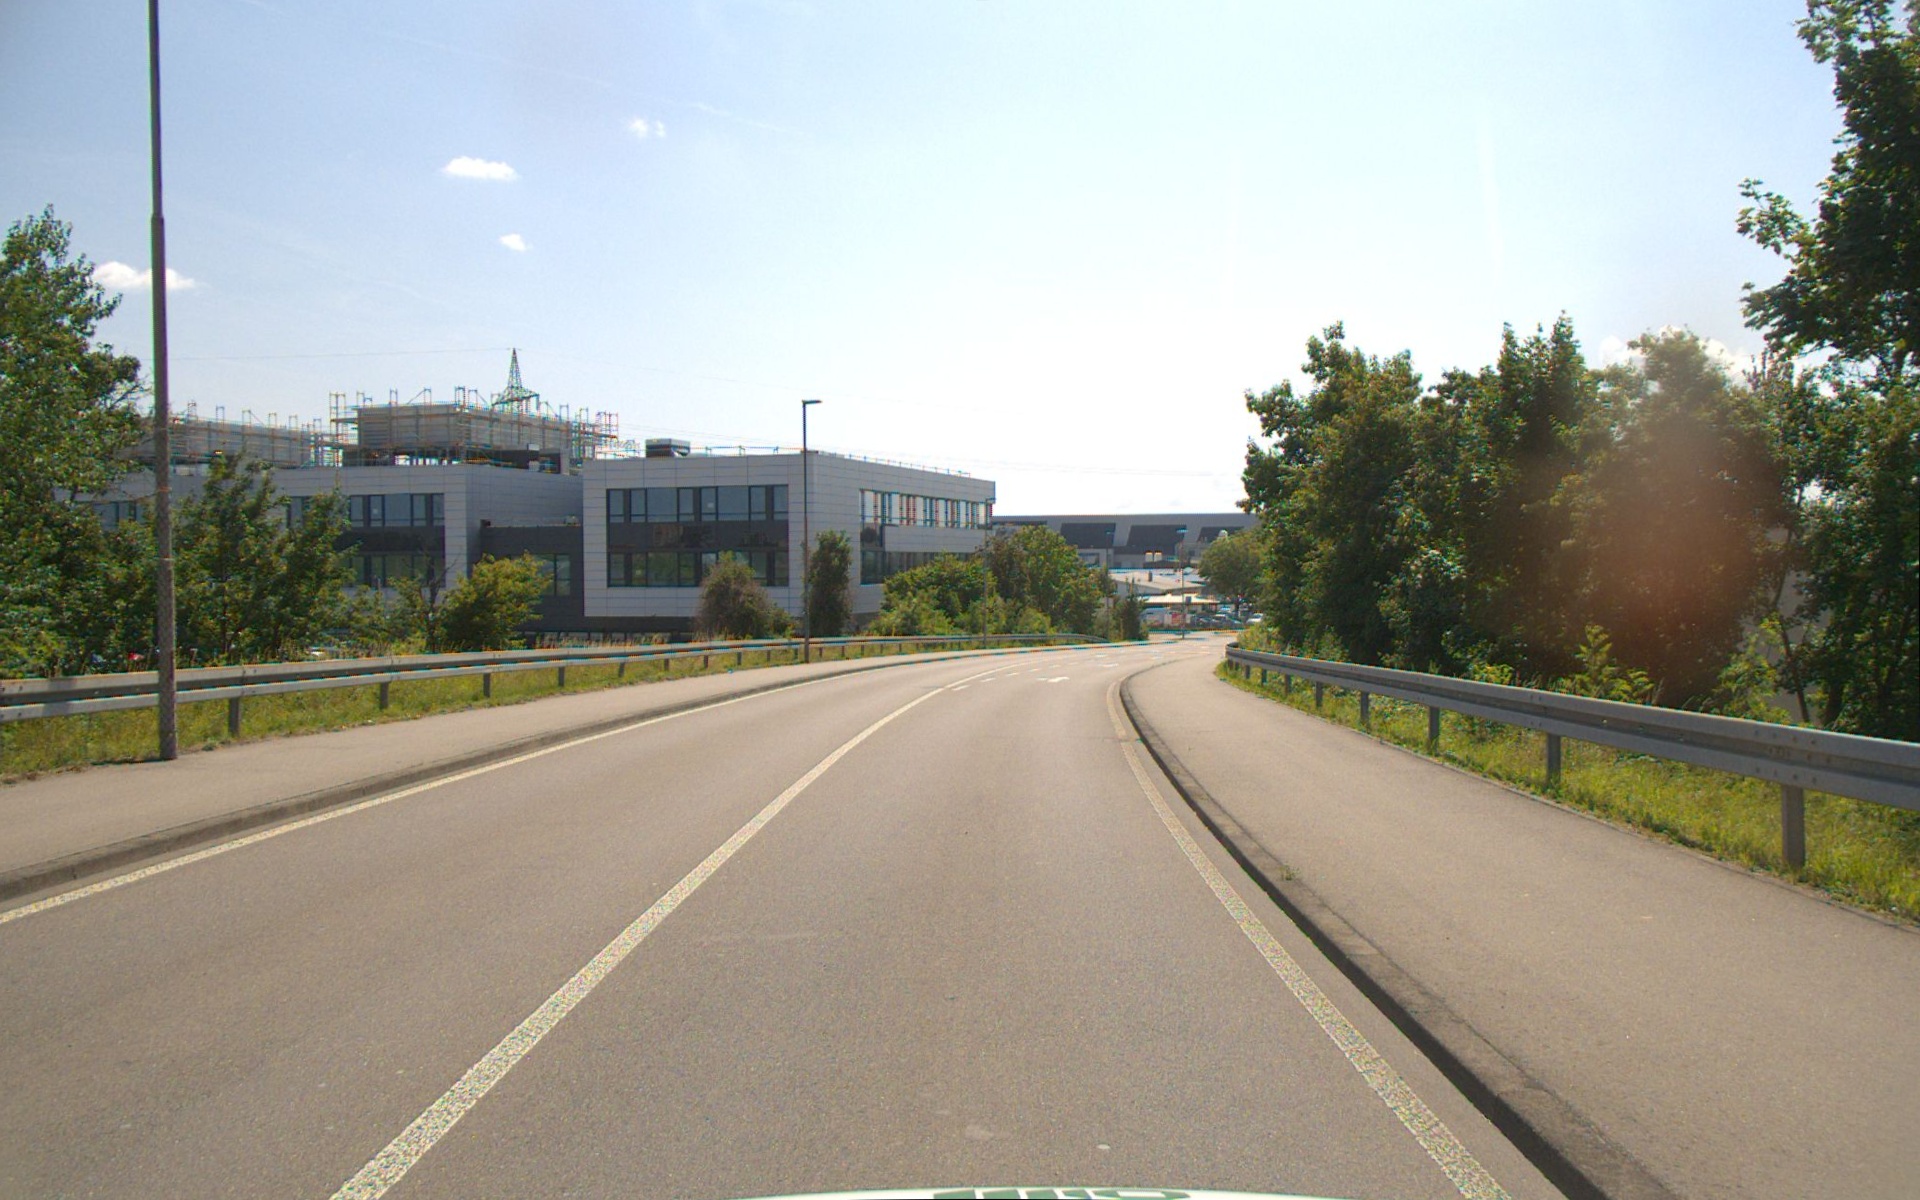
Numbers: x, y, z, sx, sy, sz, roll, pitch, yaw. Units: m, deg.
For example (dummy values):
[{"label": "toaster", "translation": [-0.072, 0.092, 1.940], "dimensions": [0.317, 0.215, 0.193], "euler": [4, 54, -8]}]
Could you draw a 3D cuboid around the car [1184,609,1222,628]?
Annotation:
[{"label": "car", "translation": [27.774, 2.133, 189.054], "dimensions": [1.985, 1.936, 3.935], "euler": [-1, 2, -44]}]

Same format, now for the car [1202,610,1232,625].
[{"label": "car", "translation": [34.240, 2.305, 220.363], "dimensions": [3.902, 1.882, 1.836], "euler": [0, 0, 8]}]

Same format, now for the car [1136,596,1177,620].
[{"label": "car", "translation": [21.915, 0.889, 184.386], "dimensions": [1.984, 2.654, 4.297], "euler": [1, -1, -43]}]

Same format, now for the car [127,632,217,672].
[{"label": "car", "translation": [-42.577, 2.797, 89.391], "dimensions": [3.908, 2.048, 1.999], "euler": [0, 2, -4]}]

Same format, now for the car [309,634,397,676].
[{"label": "car", "translation": [-32.009, 2.894, 87.294], "dimensions": [3.907, 2.048, 1.960], "euler": [1, 2, -3]}]
